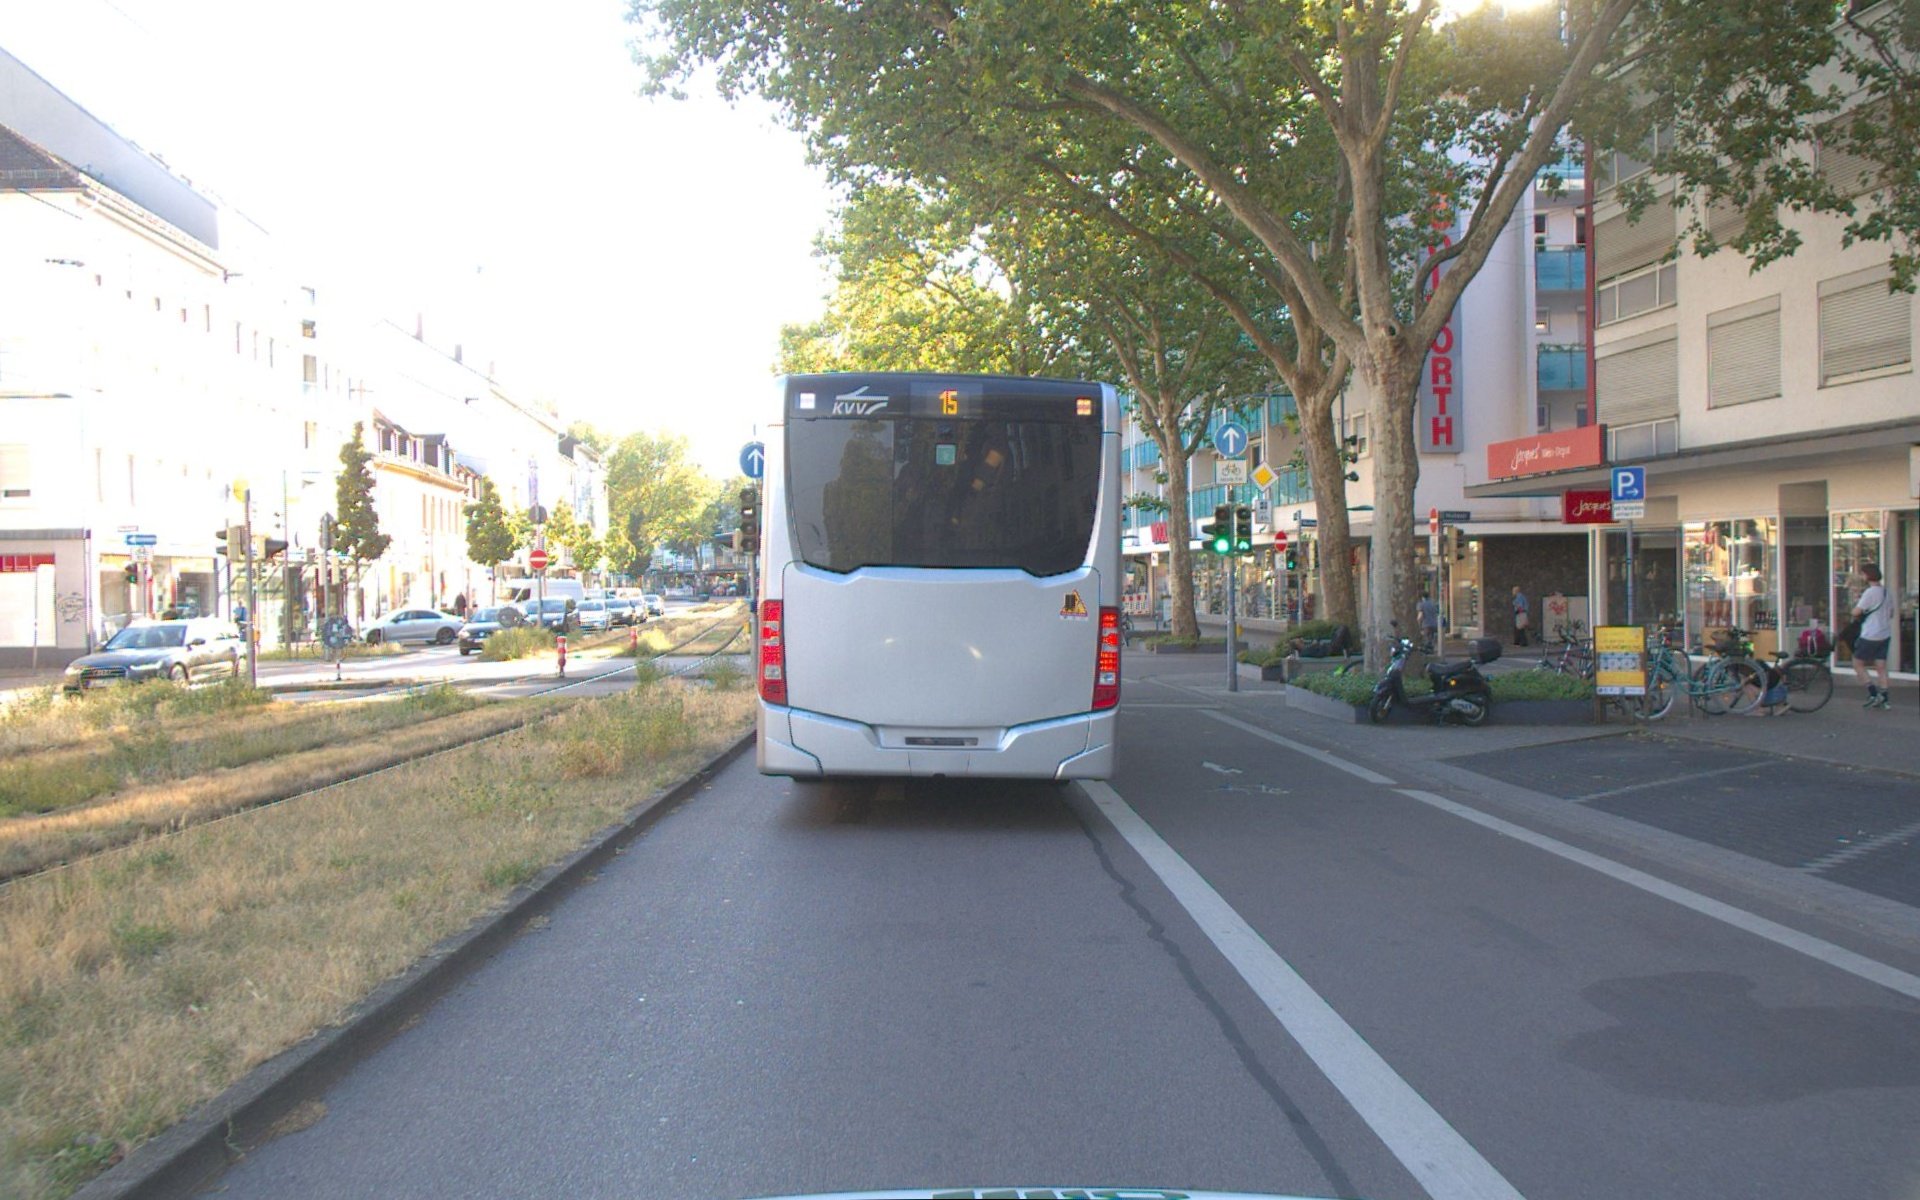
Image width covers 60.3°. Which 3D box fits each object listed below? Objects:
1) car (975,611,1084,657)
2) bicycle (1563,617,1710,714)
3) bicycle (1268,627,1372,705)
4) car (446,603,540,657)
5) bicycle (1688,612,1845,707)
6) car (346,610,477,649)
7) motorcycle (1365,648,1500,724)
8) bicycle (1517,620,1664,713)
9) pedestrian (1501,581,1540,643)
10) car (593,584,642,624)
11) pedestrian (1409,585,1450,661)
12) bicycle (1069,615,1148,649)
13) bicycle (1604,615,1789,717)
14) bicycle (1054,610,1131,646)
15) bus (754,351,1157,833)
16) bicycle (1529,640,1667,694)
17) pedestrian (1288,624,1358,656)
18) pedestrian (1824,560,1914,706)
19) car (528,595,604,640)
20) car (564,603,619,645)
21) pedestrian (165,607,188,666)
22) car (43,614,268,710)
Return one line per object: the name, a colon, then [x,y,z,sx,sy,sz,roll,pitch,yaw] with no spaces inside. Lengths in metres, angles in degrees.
car: [2.582,1.224,60.597,1.964,1.557,3.978,-1,0,41]
bicycle: [9.511,0.911,23.275,1.753,1.210,0.671,-4,-1,-10]
bicycle: [5.604,1.029,25.795,1.478,1.124,0.460,2,0,-1]
car: [-14.951,0.923,53.117,1.744,1.475,4.045,-3,1,1]
bicycle: [10.810,0.794,22.223,1.727,1.174,0.679,-3,0,8]
car: [-21.513,1.140,64.885,4.505,1.437,1.973,-1,0,-38]
motorcycle: [5.979,1.083,20.971,1.539,0.908,0.544,-1,0,-4]
bicycle: [9.233,0.968,24.278,1.836,1.210,0.712,-4,-1,7]
pedestrian: [15.747,0.332,46.475,0.733,1.708,0.834,-1,2,-7]
car: [-17.914,0.205,86.592,1.954,2.049,3.997,-1,0,-4]
pedestrian: [11.426,0.547,40.274,0.764,1.825,0.764,-1,0,-1]
bicycle: [4.513,0.967,50.422,2.267,0.956,0.835,-1,1,-9]
bicycle: [9.699,0.860,21.834,2.037,1.254,0.832,-2,0,4]
bicycle: [4.148,0.879,51.698,2.267,1.046,0.835,-1,1,-9]
bus: [-0.027,-0.069,14.367,2.623,3.137,7.114,0,0,0]
bicycle: [9.693,1.015,25.167,1.836,0.779,0.712,-1,0,7]
pedestrian: [7.014,0.767,31.970,1.229,0.599,0.482,0,0,-3]
pedestrian: [12.151,0.435,22.127,0.632,1.909,0.821,-1,0,-14]
car: [-14.951,0.641,62.973,1.744,1.643,4.509,0,0,1]
car: [-16.799,1.051,75.540,1.860,1.836,3.997,-1,0,-4]
pedestrian: [-23.347,1.074,49.276,0.417,1.743,0.508,-1,0,3]
car: [-14.964,1.094,31.099,1.953,1.586,4.773,-1,0,-1]
